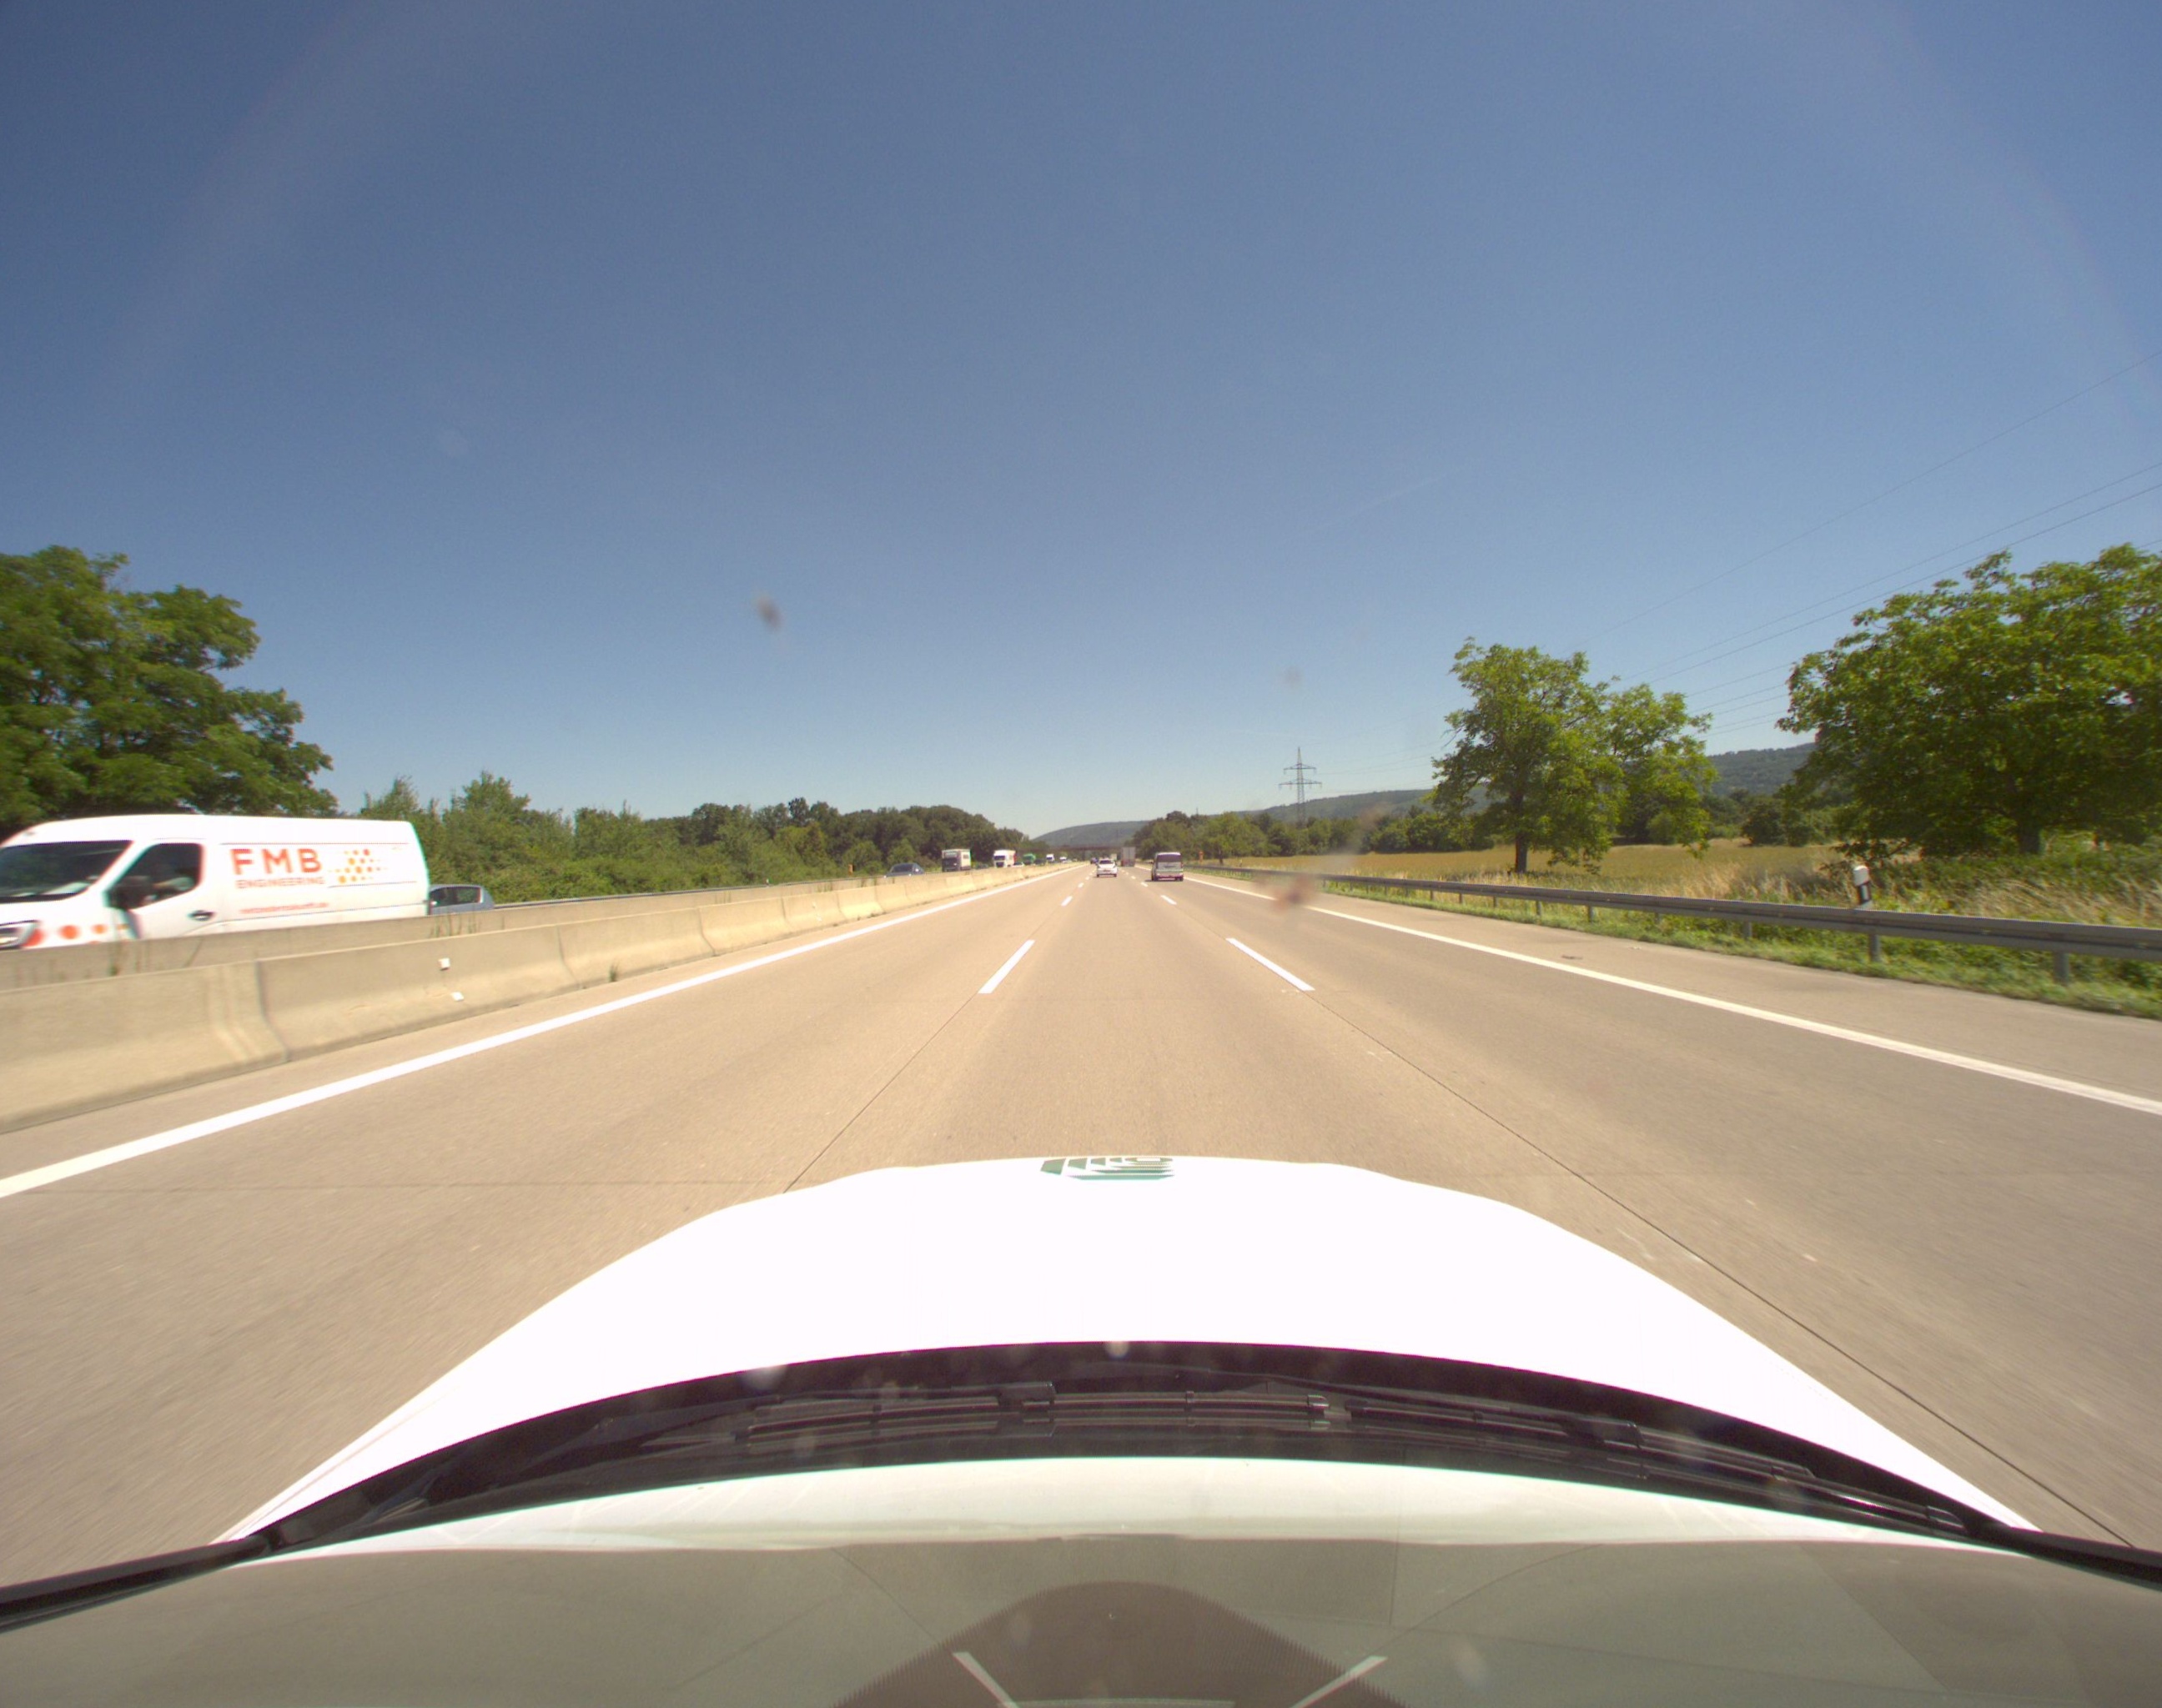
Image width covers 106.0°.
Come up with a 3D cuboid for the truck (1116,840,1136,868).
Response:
[{"bbox_3d":[9.467,0.022,171.619,3.709,5.811,7.053,0,0,0],"label":"truck"}]

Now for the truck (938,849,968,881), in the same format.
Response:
[{"bbox_3d":[-16.539,1.389,105.642,2.942,4.127,5.088,0,0,2],"label":"truck"}]

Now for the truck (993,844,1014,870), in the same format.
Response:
[{"bbox_3d":[-14.981,0.579,157.755,3.070,4.762,6.501,0,0,2],"label":"truck"}]

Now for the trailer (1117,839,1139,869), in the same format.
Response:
[{"bbox_3d":[9.419,0.019,165.450,3.709,5.811,12.160,0,0,0],"label":"trailer"}]

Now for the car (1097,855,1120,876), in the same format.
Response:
[{"bbox_3d":[2.310,0.962,69.143,1.813,1.661,4.001,-1,0,1],"label":"car"}]

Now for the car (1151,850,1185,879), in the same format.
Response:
[{"bbox_3d":[5.810,0.667,54.786,1.986,1.849,4.001,0,0,1],"label":"car"}]

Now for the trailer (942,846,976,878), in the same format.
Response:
[{"bbox_3d":[-16.397,1.060,109.771,2.942,4.105,8.488,0,0,2],"label":"trailer"}]

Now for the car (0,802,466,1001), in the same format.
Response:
[{"bbox_3d":[-11.857,0.494,11.249,2.061,2.013,5.982,0,0,1],"label":"car"}]

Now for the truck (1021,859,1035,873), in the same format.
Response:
[{"bbox_3d":[-14.545,3.188,222.846,3.038,3.634,7.979,0,0,1],"label":"truck"}]

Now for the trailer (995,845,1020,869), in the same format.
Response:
[{"bbox_3d":[-14.735,0.581,164.427,3.070,4.762,14.380,0,0,2],"label":"trailer"}]

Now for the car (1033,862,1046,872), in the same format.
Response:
[{"bbox_3d":[-7.684,2.312,149.565,1.986,1.795,4.469,0,0,2],"label":"car"}]

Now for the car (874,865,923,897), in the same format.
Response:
[{"bbox_3d":[-11.061,1.581,49.637,1.922,1.794,4.398,0,0,1],"label":"car"}]

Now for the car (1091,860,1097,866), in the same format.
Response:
[{"bbox_3d":[3.997,2.736,245.564,1.922,1.794,4.001,0,0,1],"label":"car"}]
